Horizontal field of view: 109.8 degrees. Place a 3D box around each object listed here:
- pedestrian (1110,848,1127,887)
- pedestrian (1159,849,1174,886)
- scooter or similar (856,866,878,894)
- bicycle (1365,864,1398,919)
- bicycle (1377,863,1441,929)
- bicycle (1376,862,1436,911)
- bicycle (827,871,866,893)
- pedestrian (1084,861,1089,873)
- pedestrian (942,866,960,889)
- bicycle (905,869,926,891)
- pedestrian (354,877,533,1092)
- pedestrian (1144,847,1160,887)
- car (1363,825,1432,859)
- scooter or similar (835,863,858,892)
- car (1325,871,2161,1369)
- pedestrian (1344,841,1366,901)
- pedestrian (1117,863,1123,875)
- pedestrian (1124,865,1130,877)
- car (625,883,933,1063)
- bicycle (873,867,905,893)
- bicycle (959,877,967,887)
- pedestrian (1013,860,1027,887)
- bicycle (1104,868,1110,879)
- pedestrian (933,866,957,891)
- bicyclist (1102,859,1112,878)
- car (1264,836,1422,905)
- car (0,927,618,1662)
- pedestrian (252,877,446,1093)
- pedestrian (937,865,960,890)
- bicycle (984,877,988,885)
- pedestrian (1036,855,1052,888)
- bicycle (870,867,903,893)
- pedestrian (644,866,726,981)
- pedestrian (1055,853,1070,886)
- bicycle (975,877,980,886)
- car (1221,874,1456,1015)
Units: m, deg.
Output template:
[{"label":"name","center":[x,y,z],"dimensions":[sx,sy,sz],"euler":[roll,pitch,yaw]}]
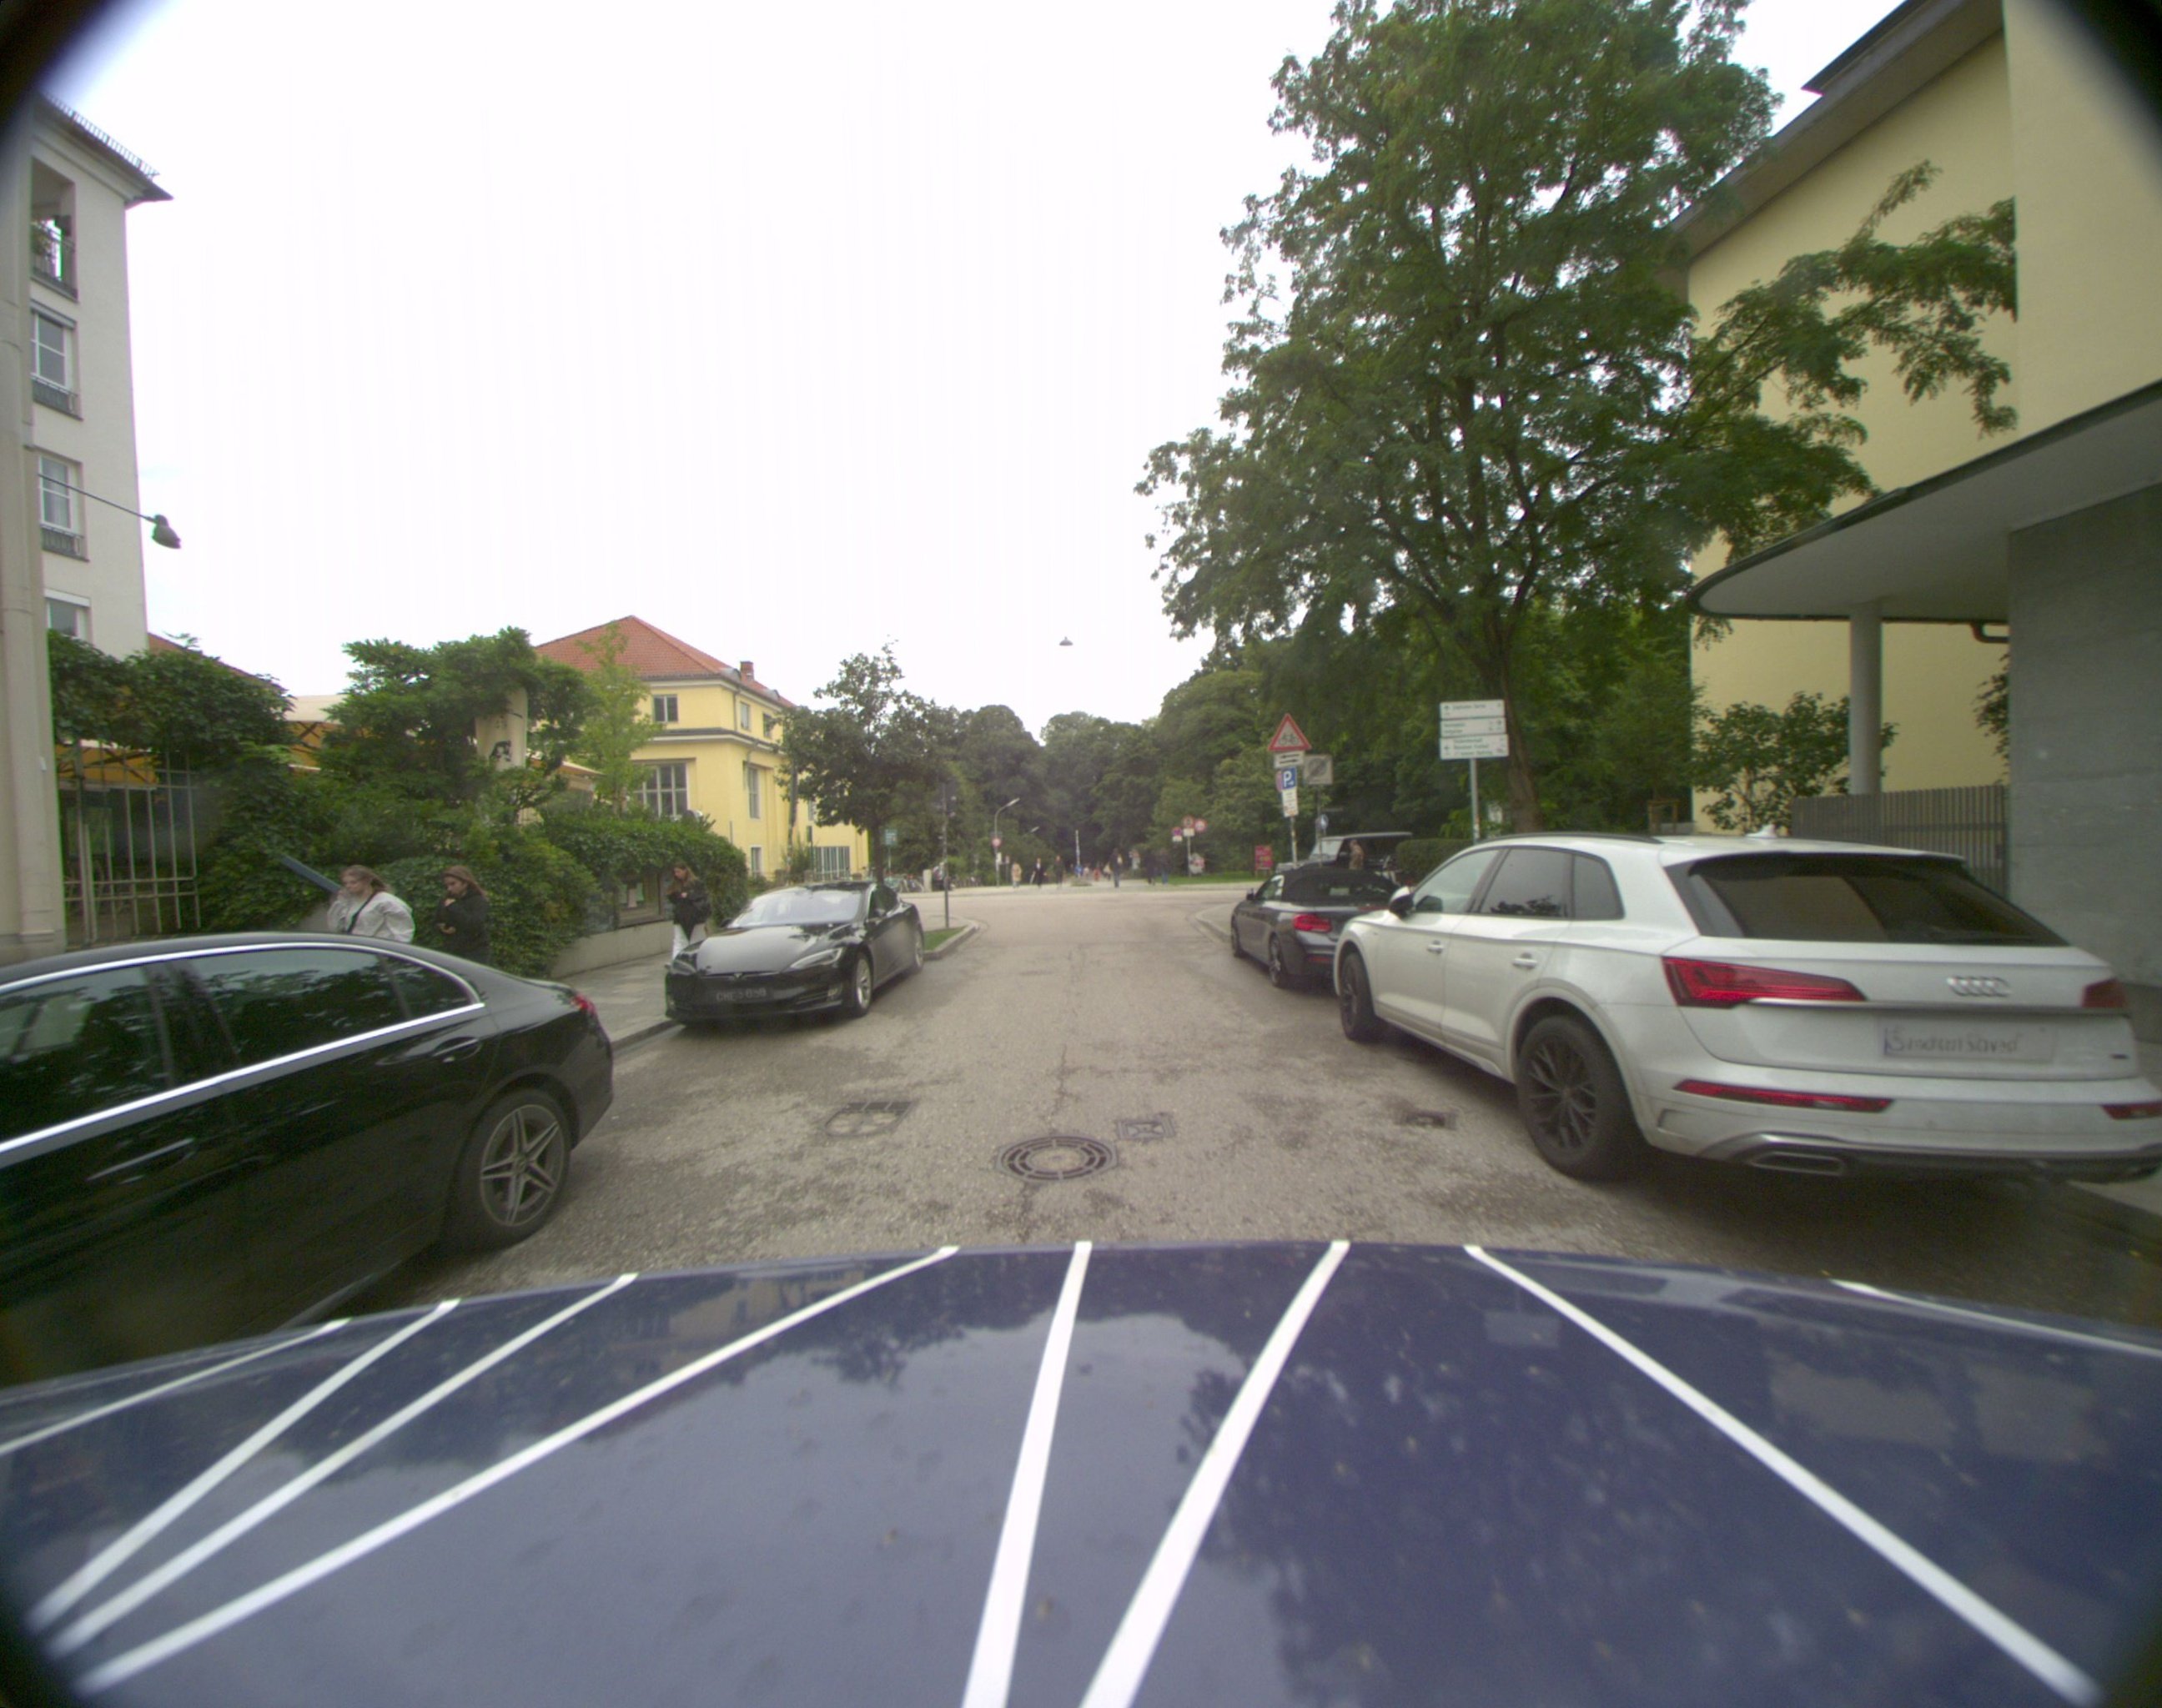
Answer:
[{"label":"pedestrian","center":[1.788,0.663,36.391],"dimensions":[0.751,1.822,1.115],"euler":[0,-1,0]},{"label":"pedestrian","center":[4.100,0.641,36.413],"dimensions":[0.634,1.771,0.801],"euler":[0,-1,0]},{"label":"scooter or similar","center":[-9.461,1.156,33.598],"dimensions":[1.114,1.205,0.324],"euler":[-1,-1,37]},{"label":"bicycle","center":[7.045,0.844,17.758],"dimensions":[0.582,1.119,2.301],"euler":[-3,0,24]},{"label":"bicycle","center":[6.651,0.823,15.498],"dimensions":[0.563,1.203,1.854],"euler":[-2,1,3]},{"label":"bicycle","center":[8.374,0.817,19.540],"dimensions":[1.956,1.149,0.582],"euler":[-1,-1,-41]},{"label":"bicycle","center":[-10.598,1.281,34.397],"dimensions":[1.656,0.987,0.248],"euler":[1,-1,-24]},{"label":"pedestrian","center":[0.774,1.889,110.779],"dimensions":[0.686,1.662,0.774],"euler":[-3,-2,1]},{"label":"pedestrian","center":[-7.158,1.308,41.801],"dimensions":[0.887,1.227,0.550],"euler":[-2,-2,-10]},{"label":"bicycle","center":[-8.100,1.278,37.274],"dimensions":[0.307,1.032,1.657],"euler":[0,-2,15]},{"label":"pedestrian","center":[-5.387,1.057,6.491],"dimensions":[0.706,1.652,0.880],"euler":[-1,2,-1]},{"label":"pedestrian","center":[3.403,0.609,36.443],"dimensions":[0.707,1.892,0.804],"euler":[0,-1,0]},{"label":"car","center":[21.051,-0.803,50.556],"dimensions":[3.958,2.093,1.908],"euler":[-2,1,31]},{"label":"scooter or similar","center":[-10.309,1.026,33.463],"dimensions":[0.396,1.240,1.391],"euler":[-1,-1,9]},{"label":"car","center":[3.074,0.902,4.611],"dimensions":[1.807,1.574,4.338],"euler":[0,-1,0]},{"label":"pedestrian","center":[8.318,0.511,23.042],"dimensions":[0.560,1.788,0.641],"euler":[-2,-1,18]},{"label":"pedestrian","center":[5.124,2.000,101.083],"dimensions":[0.686,1.662,0.774],"euler":[-3,-2,1]},{"label":"pedestrian","center":[6.416,2.352,105.717],"dimensions":[0.686,1.662,0.774],"euler":[-3,-2,1]},{"label":"car","center":[-3.192,1.170,9.223],"dimensions":[1.807,1.402,4.656],"euler":[-2,0,0]},{"label":"bicycle","center":[-8.945,1.217,35.436],"dimensions":[0.169,1.191,1.658],"euler":[-1,-2,41]},{"label":"bicycle","center":[-7.824,1.846,50.518],"dimensions":[0.215,0.671,0.910],"euler":[0,-1,12]},{"label":"pedestrian","center":[-3.826,1.228,47.627],"dimensions":[0.653,1.676,0.976],"euler":[-3,-2,1]},{"label":"bicycle","center":[2.523,1.856,73.369],"dimensions":[0.483,1.034,1.946],"euler":[-1,0,3]},{"label":"pedestrian","center":[-7.200,1.300,40.205],"dimensions":[1.217,1.239,0.639],"euler":[-2,-2,-10]},{"label":"bicyclist","center":[2.531,1.370,73.227],"dimensions":[0.856,1.792,0.766],"euler":[-2,1,0]},{"label":"car","center":[8.311,0.466,24.222],"dimensions":[4.422,1.990,1.933],"euler":[-2,2,-15]},{"label":"car","center":[-3.258,1.132,1.712],"dimensions":[1.650,1.416,4.509],"euler":[-4,0,-1]},{"label":"pedestrian","center":[-6.162,1.054,6.460],"dimensions":[0.706,1.652,0.880],"euler":[-1,2,-1]},{"label":"pedestrian","center":[-7.178,1.297,41.149],"dimensions":[1.178,1.285,0.639],"euler":[-2,-2,-10]},{"label":"bicycle","center":[-7.748,2.167,61.959],"dimensions":[0.242,0.653,0.909],"euler":[0,-1,1]},{"label":"pedestrian","center":[-1.901,0.906,39.295],"dimensions":[0.686,1.662,0.774],"euler":[-3,-2,1]},{"label":"bicycle","center":[-9.084,1.227,35.577],"dimensions":[0.202,1.184,1.658],"euler":[-1,-2,41]},{"label":"pedestrian","center":[-5.913,1.009,11.386],"dimensions":[0.706,1.613,0.880],"euler":[-1,2,-1]},{"label":"pedestrian","center":[-0.950,0.798,39.396],"dimensions":[0.639,1.662,0.774],"euler":[-3,-2,1]},{"label":"bicycle","center":[-7.806,2.055,57.515],"dimensions":[0.215,0.671,0.909],"euler":[0,-1,3]},{"label":"car","center":[3.105,1.016,10.098],"dimensions":[1.750,1.402,4.098],"euler":[0,0,0]}]
